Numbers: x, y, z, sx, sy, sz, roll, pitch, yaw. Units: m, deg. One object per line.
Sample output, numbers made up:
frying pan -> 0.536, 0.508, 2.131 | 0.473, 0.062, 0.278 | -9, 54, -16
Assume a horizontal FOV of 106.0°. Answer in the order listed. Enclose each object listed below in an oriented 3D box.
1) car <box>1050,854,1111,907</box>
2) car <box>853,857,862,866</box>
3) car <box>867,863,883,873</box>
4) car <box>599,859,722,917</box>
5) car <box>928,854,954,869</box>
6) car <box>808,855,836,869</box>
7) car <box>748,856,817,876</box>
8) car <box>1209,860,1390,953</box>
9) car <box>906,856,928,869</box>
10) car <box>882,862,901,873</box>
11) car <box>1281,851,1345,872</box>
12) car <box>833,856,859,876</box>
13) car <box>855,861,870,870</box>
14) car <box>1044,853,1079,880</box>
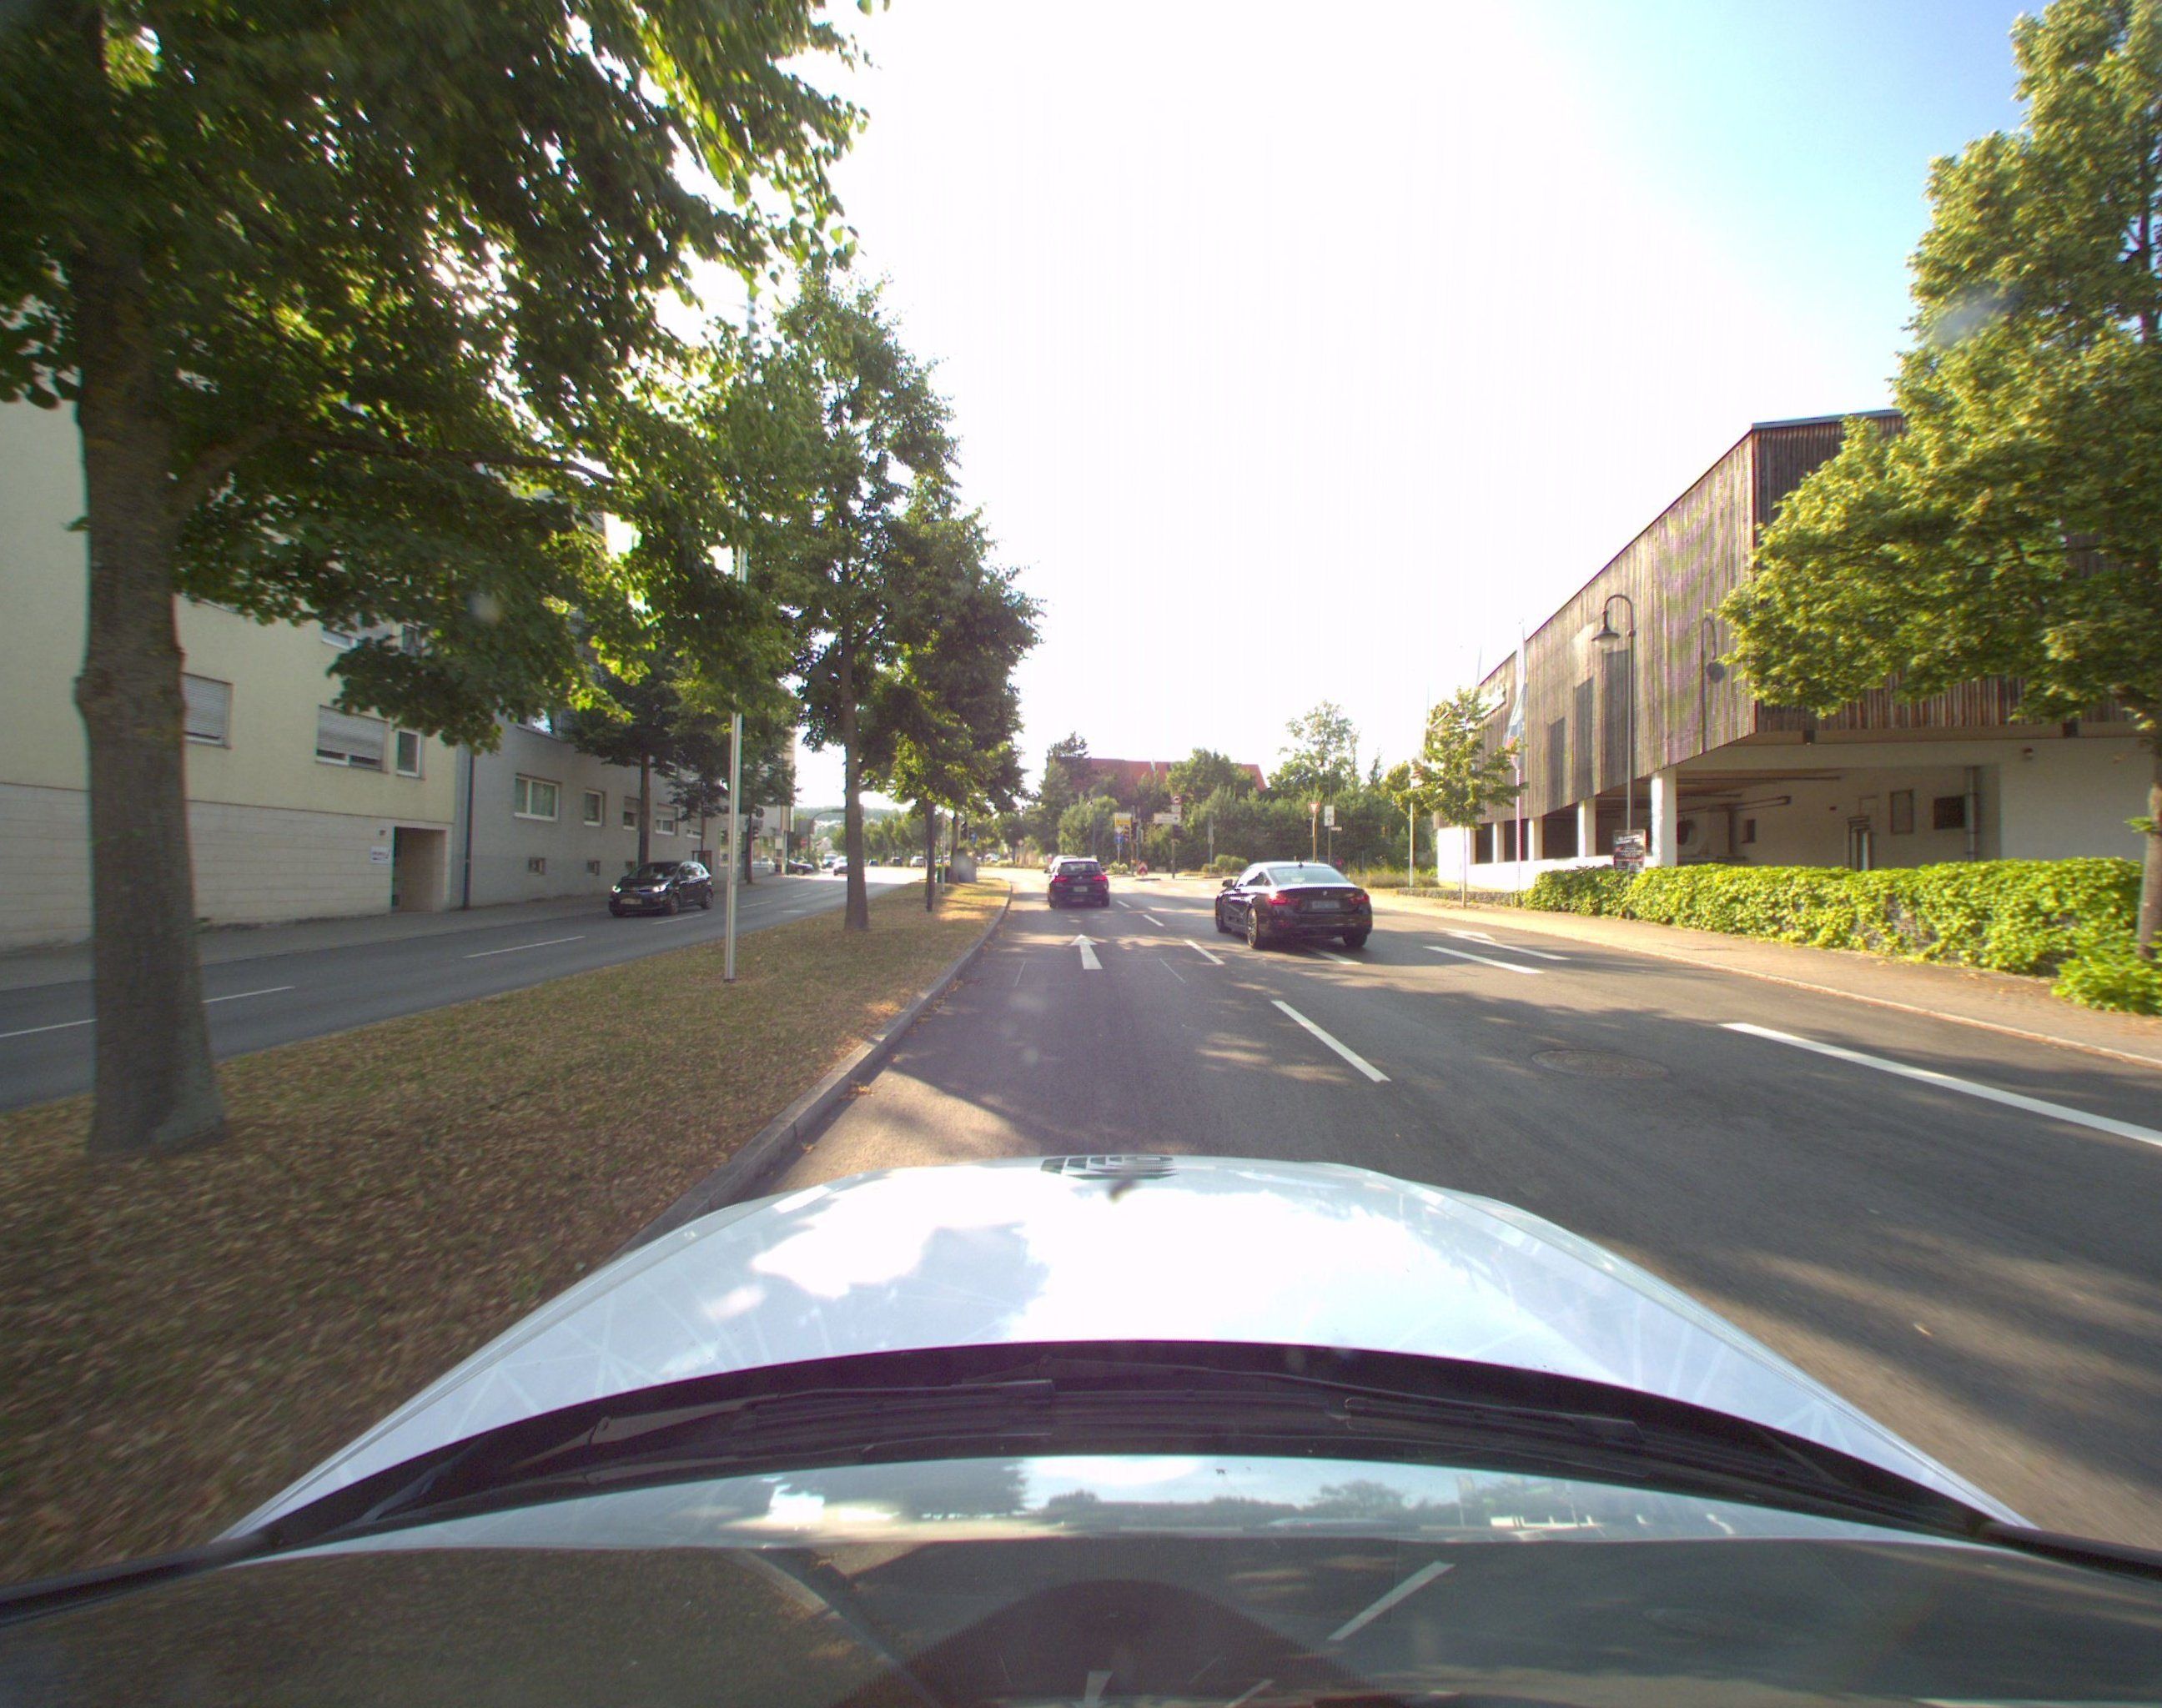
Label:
car -> 0.007, 0.756, 25.133 | 1.715, 1.490, 4.353 | 0, -1, 1
car -> -49.053, 1.668, 178.436 | 1.777, 2.014, 3.975 | 0, 0, -18
car -> -37.366, 2.531, 147.390 | 2.226, 1.859, 4.420 | 0, 0, -23
car -> -11.763, 0.892, 23.062 | 1.602, 1.486, 3.780 | -1, 0, -2
car -> -17.057, 0.920, 99.312 | 2.226, 1.769, 4.420 | 0, 0, -23
car -> -32.136, 1.023, 100.904 | 1.867, 1.736, 4.868 | 0, -1, -36
car -> -23.508, 0.949, 64.241 | 4.862, 1.436, 1.909 | -1, -1, -12
car -> 3.594, 0.801, 14.292 | 1.915, 1.364, 4.350 | -1, -1, -1
car -> -22.721, 1.185, 112.511 | 2.226, 1.769, 4.420 | 0, 0, -23
car -> -30.036, 2.096, 129.268 | 2.226, 1.769, 4.420 | 0, 0, -23
car -> 17.273, 0.548, 60.654 | 4.216, 1.567, 1.803 | 0, 0, 29
car -> -18.548, 0.914, 64.405 | 1.856, 1.486, 4.969 | -1, 0, -16
car -> -44.240, 2.327, 164.794 | 2.226, 1.769, 4.420 | 0, 0, -23
car -> -1.387, 0.842, 55.785 | 1.923, 1.769, 4.443 | 0, 0, -7
